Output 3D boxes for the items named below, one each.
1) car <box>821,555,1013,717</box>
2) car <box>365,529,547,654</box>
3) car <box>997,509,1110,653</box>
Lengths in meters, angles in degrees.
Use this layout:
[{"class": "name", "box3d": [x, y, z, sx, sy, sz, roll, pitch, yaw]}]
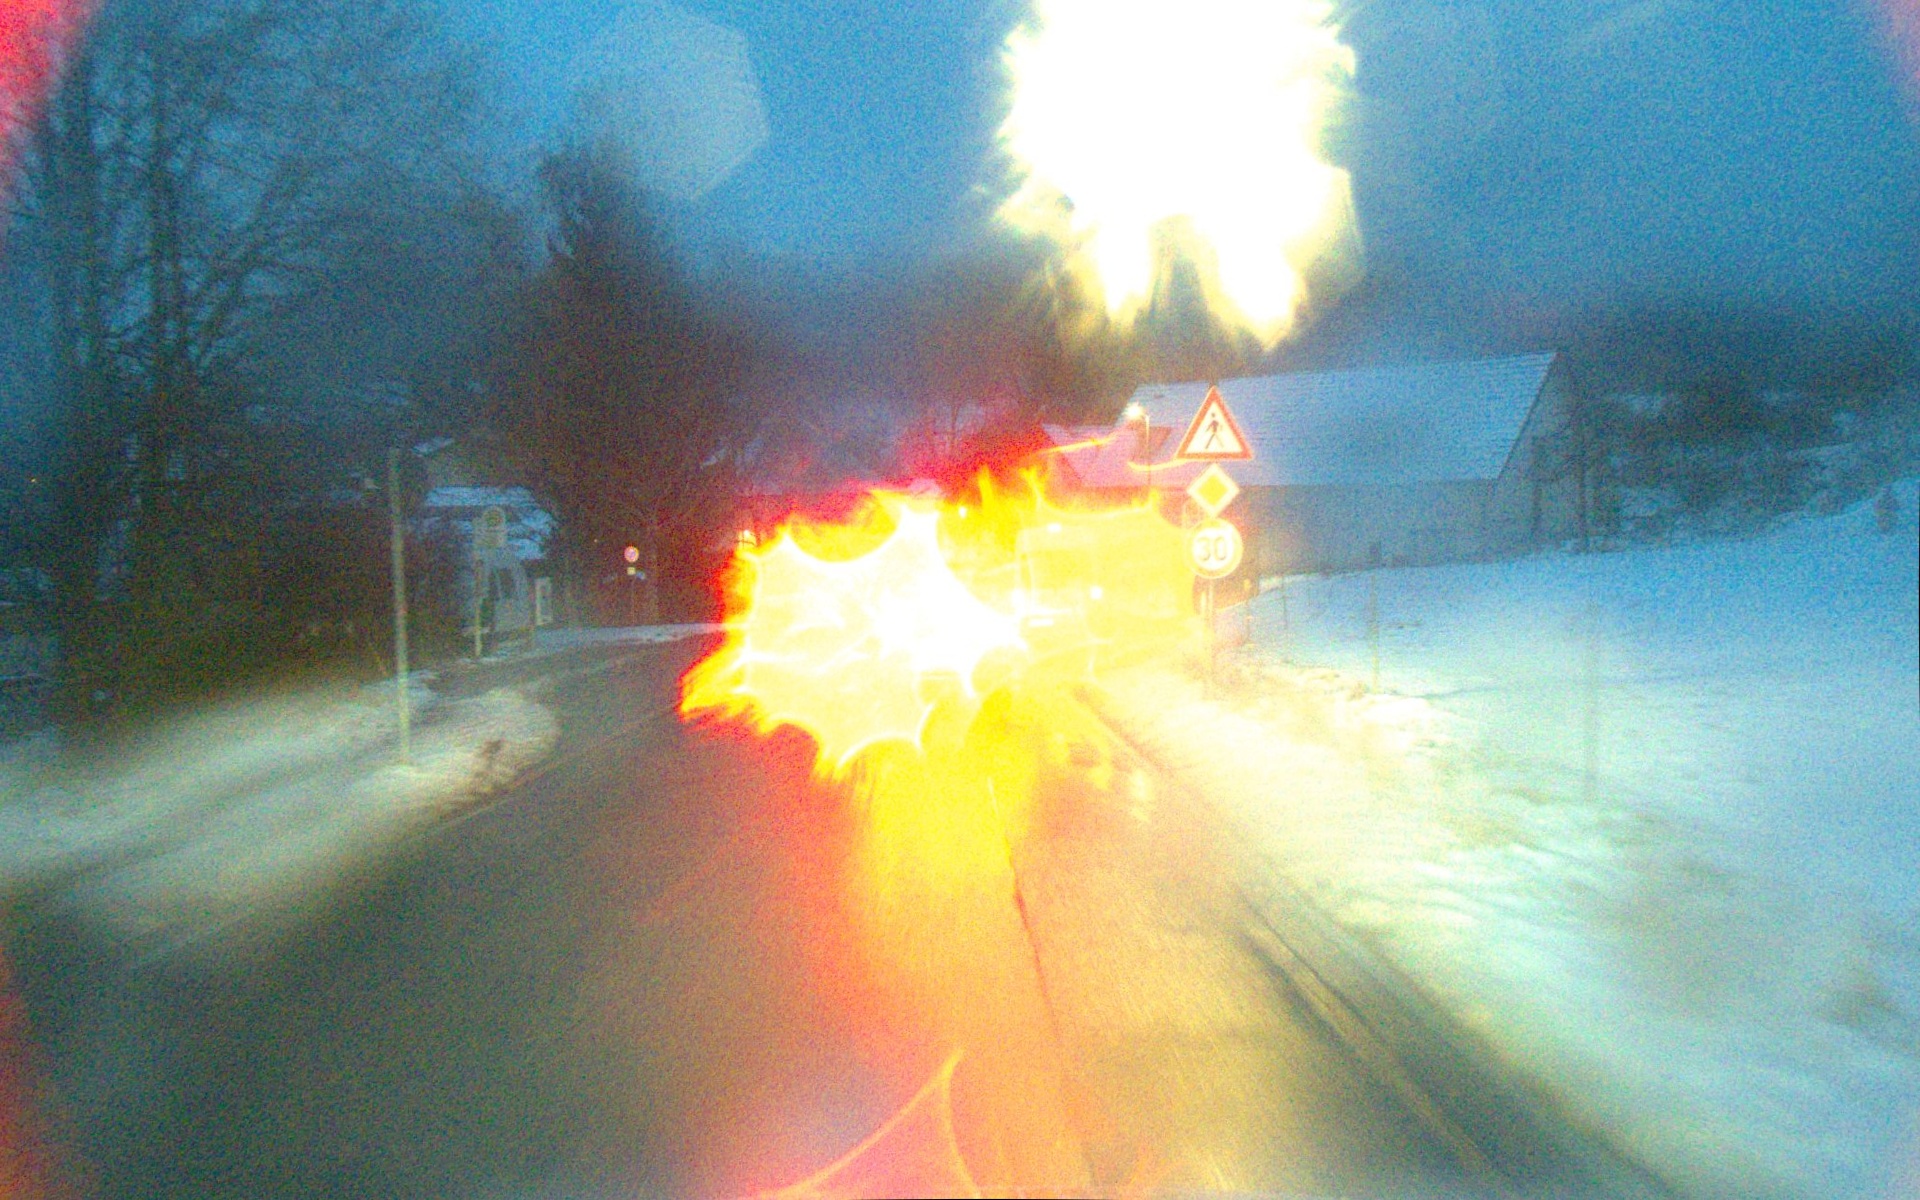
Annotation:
[{"class": "car", "box3d": [-0.576, 0.420, 21.664, 2.228, 1.873, 5.005, 0, 0, -2]}, {"class": "car", "box3d": [-11.345, -0.196, 37.807, 2.419, 2.616, 6.226, 0, 0, -2]}, {"class": "car", "box3d": [2.137, -0.391, 38.478, 2.384, 3.071, 5.326, -1, -1, 2]}]
